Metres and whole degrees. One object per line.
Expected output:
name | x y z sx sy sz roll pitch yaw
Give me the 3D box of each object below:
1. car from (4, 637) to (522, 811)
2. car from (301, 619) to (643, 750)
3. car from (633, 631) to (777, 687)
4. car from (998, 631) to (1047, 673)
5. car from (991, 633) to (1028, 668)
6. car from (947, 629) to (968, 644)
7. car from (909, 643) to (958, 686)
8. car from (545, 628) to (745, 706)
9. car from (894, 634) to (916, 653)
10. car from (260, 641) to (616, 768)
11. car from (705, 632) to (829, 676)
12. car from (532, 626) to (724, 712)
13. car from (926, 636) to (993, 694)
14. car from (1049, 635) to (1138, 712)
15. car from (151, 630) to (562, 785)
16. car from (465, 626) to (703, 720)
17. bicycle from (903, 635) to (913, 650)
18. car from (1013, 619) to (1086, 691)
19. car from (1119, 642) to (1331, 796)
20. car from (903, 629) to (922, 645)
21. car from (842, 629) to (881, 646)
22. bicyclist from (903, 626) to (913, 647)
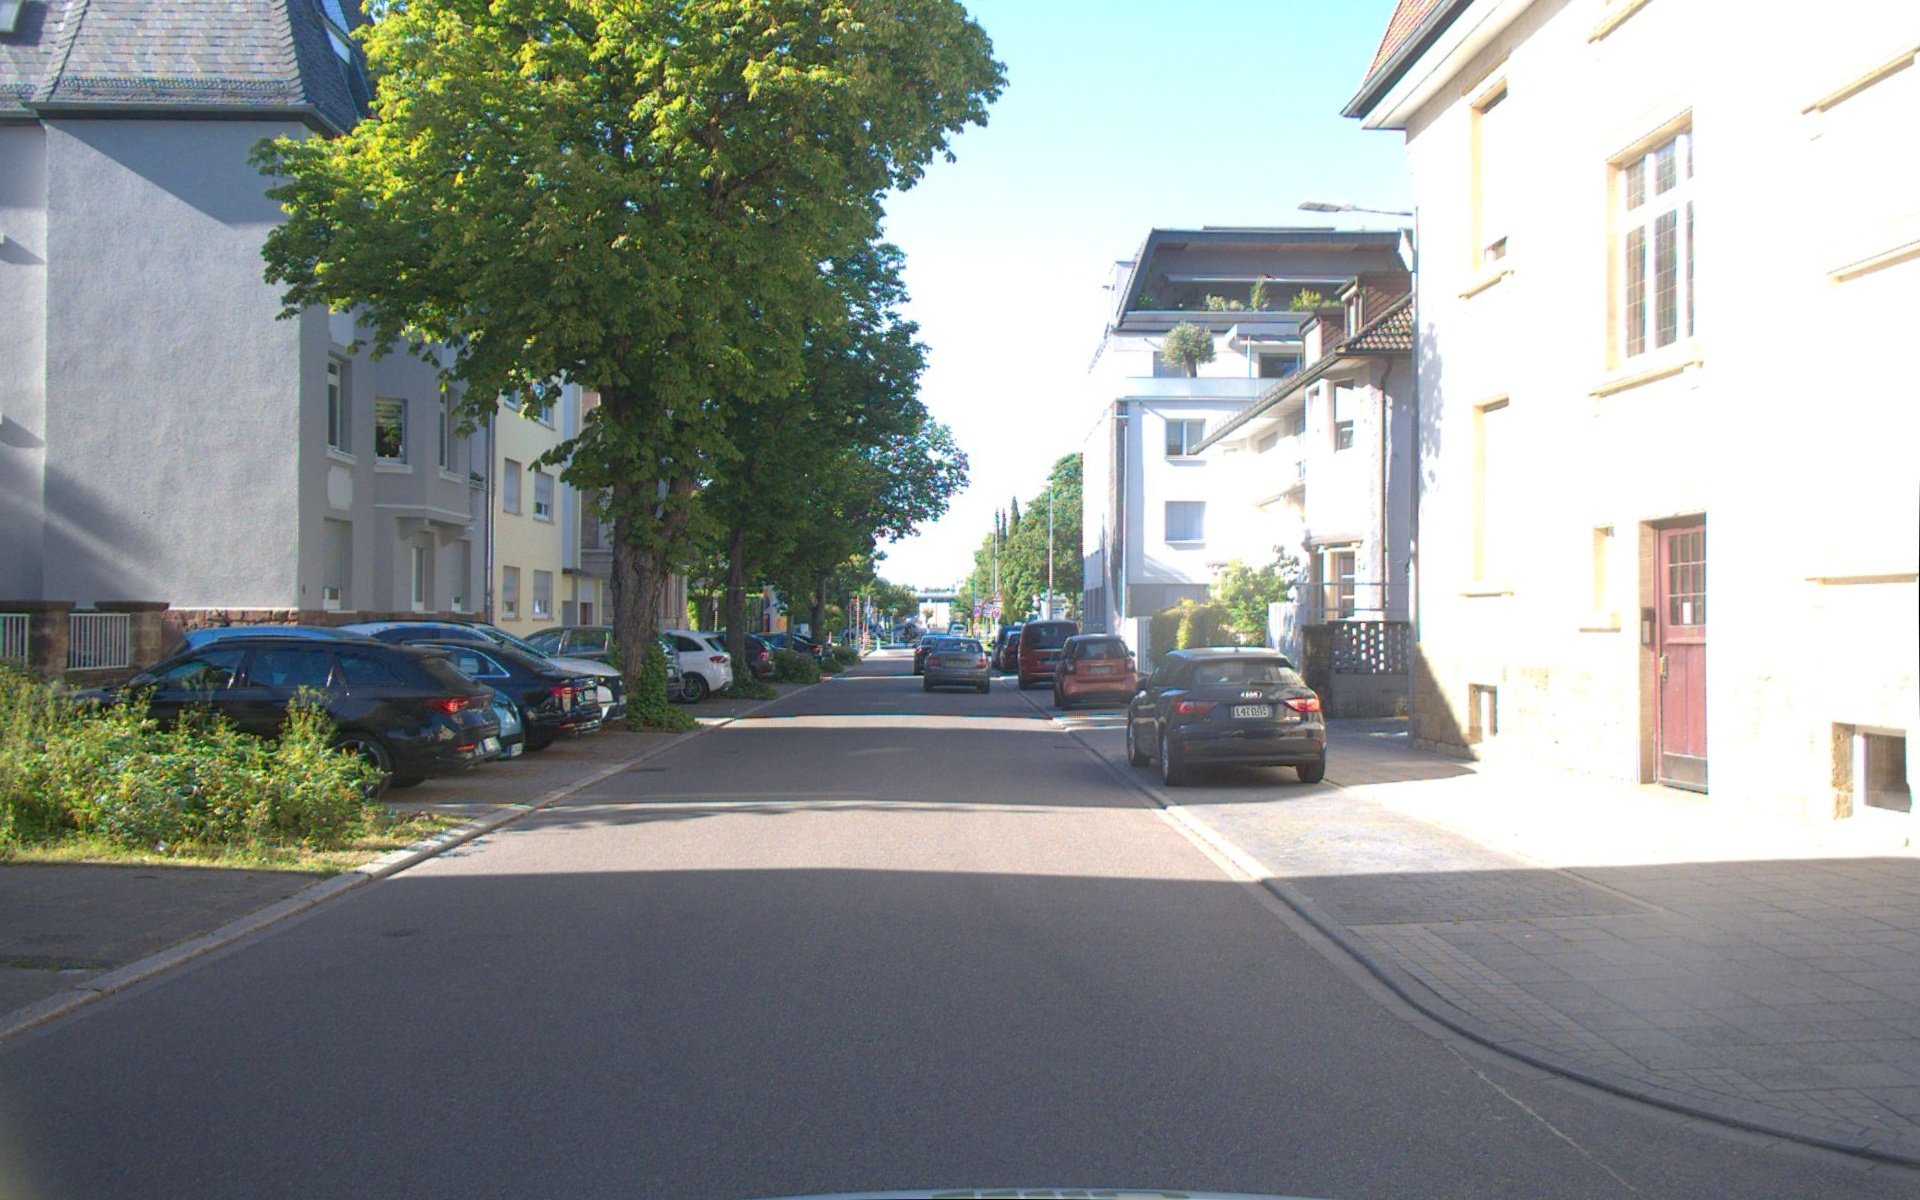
car | -6.450 1.123 15.685 4.102 1.525 1.860 0 -1 -2
car | -6.865 1.166 23.585 4.296 1.681 1.823 -1 0 0
car | -7.408 1.710 48.305 3.906 1.446 1.770 1 0 -2
car | 2.416 2.010 64.563 1.701 1.558 4.177 0 -1 -1
car | 2.216 2.277 74.784 1.532 1.435 3.729 -4 -2 0
car | -0.288 3.515 159.509 1.689 1.353 3.995 0 -1 -5
car | -0.975 2.366 60.722 1.672 1.473 4.201 2 -2 -1
car | -6.761 1.425 35.810 3.941 1.511 1.806 2 -1 -1
car | -5.230 4.133 157.090 1.836 1.758 3.995 0 -1 -5
car | -6.435 1.273 20.711 3.906 1.494 1.696 0 -1 -2
car | -7.082 1.981 60.976 4.384 1.505 1.867 1 -2 -3
car | -6.692 1.370 33.558 3.442 1.603 1.771 1 -1 2
car | -0.003 1.764 44.792 1.691 1.445 3.959 2 -2 0
car | 2.815 1.527 35.425 1.560 1.506 3.246 -2 -1 -1
car | -6.610 1.149 18.472 3.907 1.620 1.877 0 -1 -3
car | -6.942 1.333 30.852 3.904 1.603 1.981 2 -1 2
bicycle | -3.854 3.181 123.118 0.705 1.098 1.890 0 -1 0
car | 2.544 1.574 48.005 1.833 1.938 5.197 -1 -2 0
car | 2.900 1.265 18.884 1.587 1.465 3.932 -2 -1 -2
car | -5.155 4.050 180.244 1.752 1.559 3.995 -4 -3 -5
car | -9.044 3.428 151.636 3.427 1.560 1.642 0 -1 -8
bicyclist | -3.879 2.739 123.188 0.706 1.564 1.137 0 -1 -1
